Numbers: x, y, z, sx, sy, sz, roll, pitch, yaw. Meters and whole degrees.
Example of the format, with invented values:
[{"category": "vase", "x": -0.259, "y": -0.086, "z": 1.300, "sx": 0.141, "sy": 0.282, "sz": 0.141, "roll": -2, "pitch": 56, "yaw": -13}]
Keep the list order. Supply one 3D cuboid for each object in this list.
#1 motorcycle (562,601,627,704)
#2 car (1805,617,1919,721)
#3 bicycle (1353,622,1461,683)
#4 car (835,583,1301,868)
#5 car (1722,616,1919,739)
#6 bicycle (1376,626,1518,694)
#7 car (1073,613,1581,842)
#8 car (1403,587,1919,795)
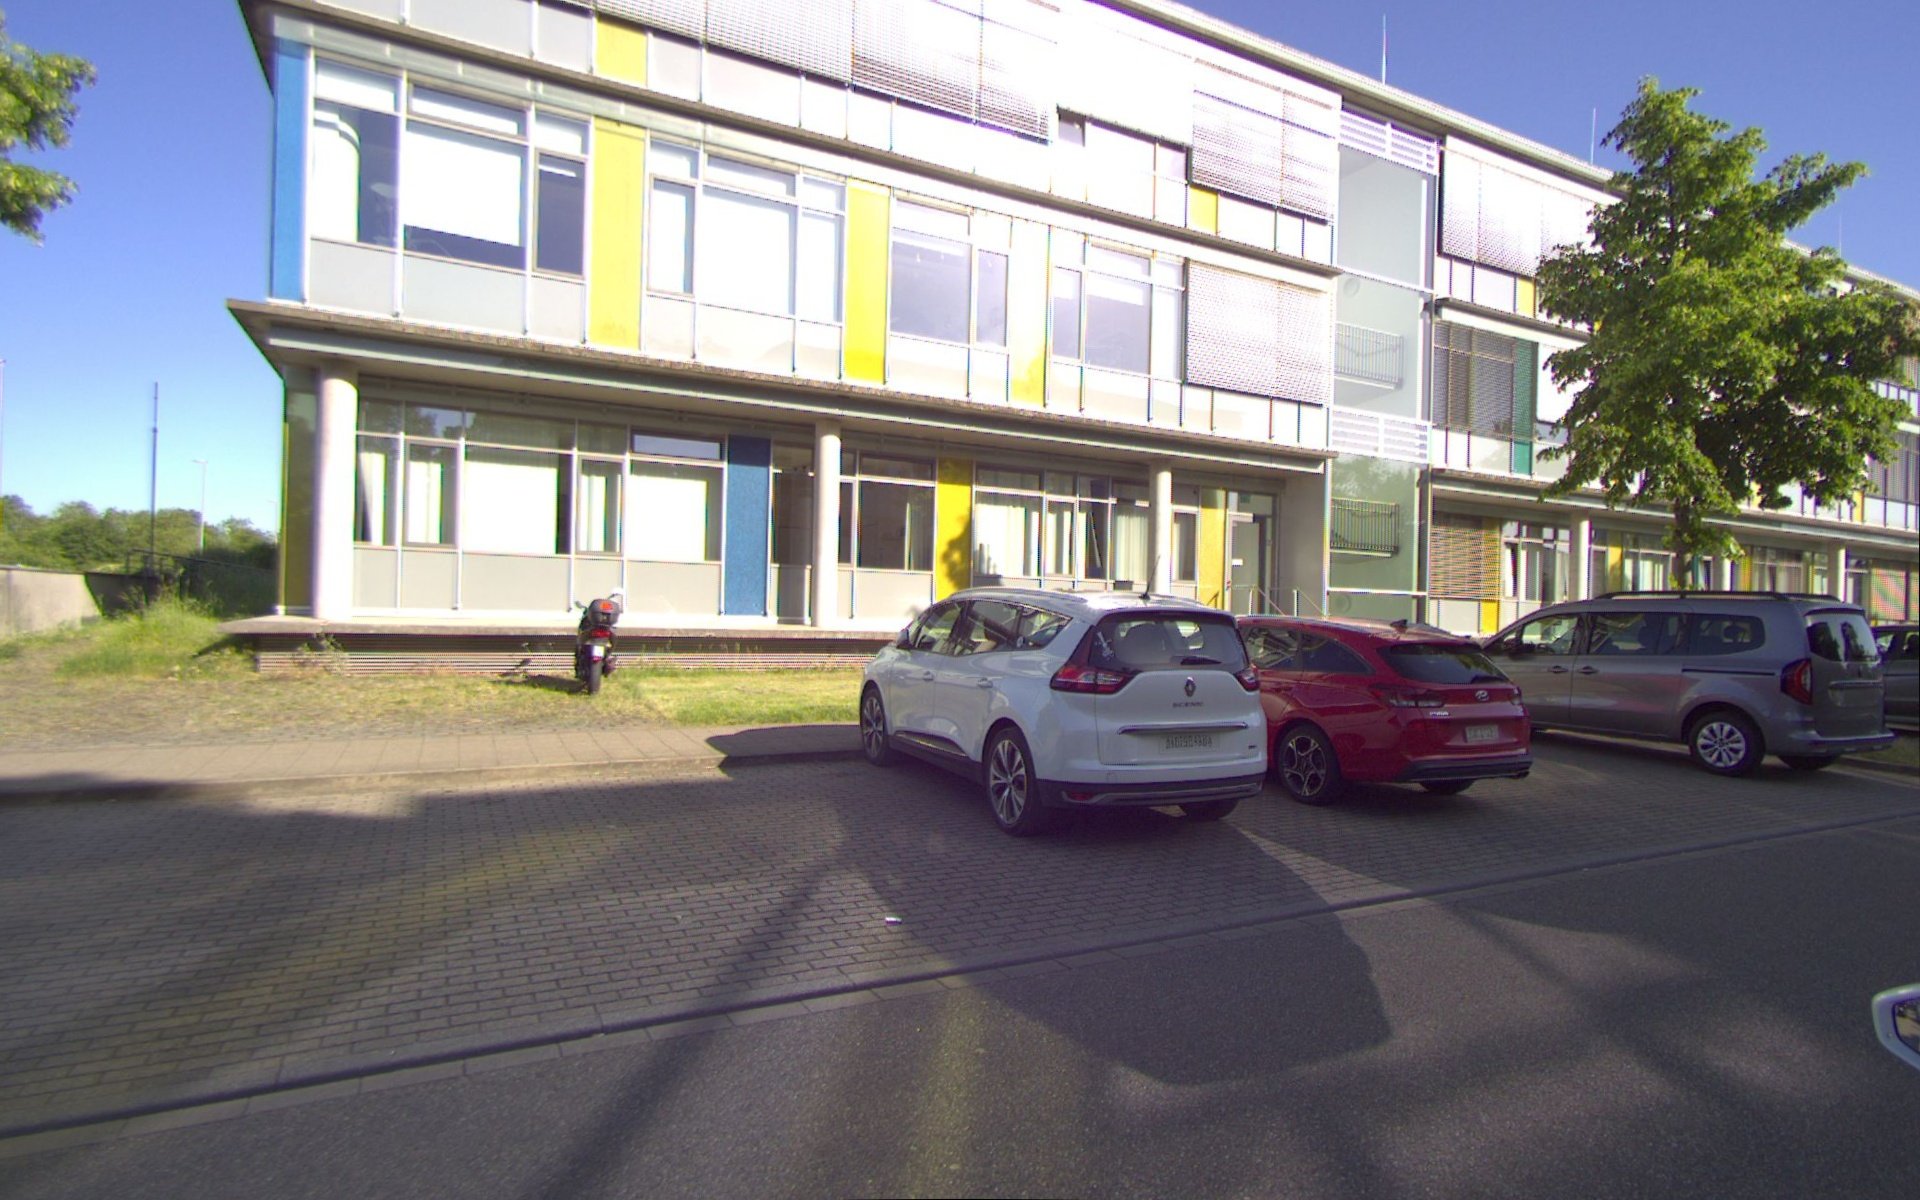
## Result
[{"category": "motorcycle", "x": -4.810, "y": 0.636, "z": 13.141, "sx": 0.493, "sy": 1.165, "sz": 2.034, "roll": 1, "pitch": 2, "yaw": -29}, {"category": "car", "x": 16.693, "y": 1.184, "z": 16.220, "sx": 2.024, "sy": 1.633, "sz": 4.225, "roll": 1, "pitch": 1, "yaw": -30}, {"category": "bicycle", "x": 9.338, "y": 1.087, "z": 20.993, "sx": 1.961, "sy": 1.169, "sz": 0.868, "roll": 2, "pitch": 1, "yaw": -18}, {"category": "car", "x": 0.497, "y": 0.766, "z": 8.394, "sx": 1.841, "sy": 1.673, "sz": 4.601, "roll": 2, "pitch": -1, "yaw": -23}, {"category": "car", "x": 14.079, "y": 1.148, "z": 14.927, "sx": 1.850, "sy": 1.628, "sz": 3.967, "roll": 1, "pitch": 1, "yaw": -30}, {"category": "bicycle", "x": 9.432, "y": 1.148, "z": 19.495, "sx": 2.328, "sy": 1.169, "sz": 0.871, "roll": 2, "pitch": 1, "yaw": -6}, {"category": "car", "x": 3.016, "y": 0.937, "z": 9.345, "sx": 1.804, "sy": 1.521, "sz": 4.419, "roll": 2, "pitch": -1, "yaw": -26}, {"category": "car", "x": 7.874, "y": 0.844, "z": 11.913, "sx": 1.803, "sy": 1.890, "sz": 4.726, "roll": 1, "pitch": 1, "yaw": -26}]
